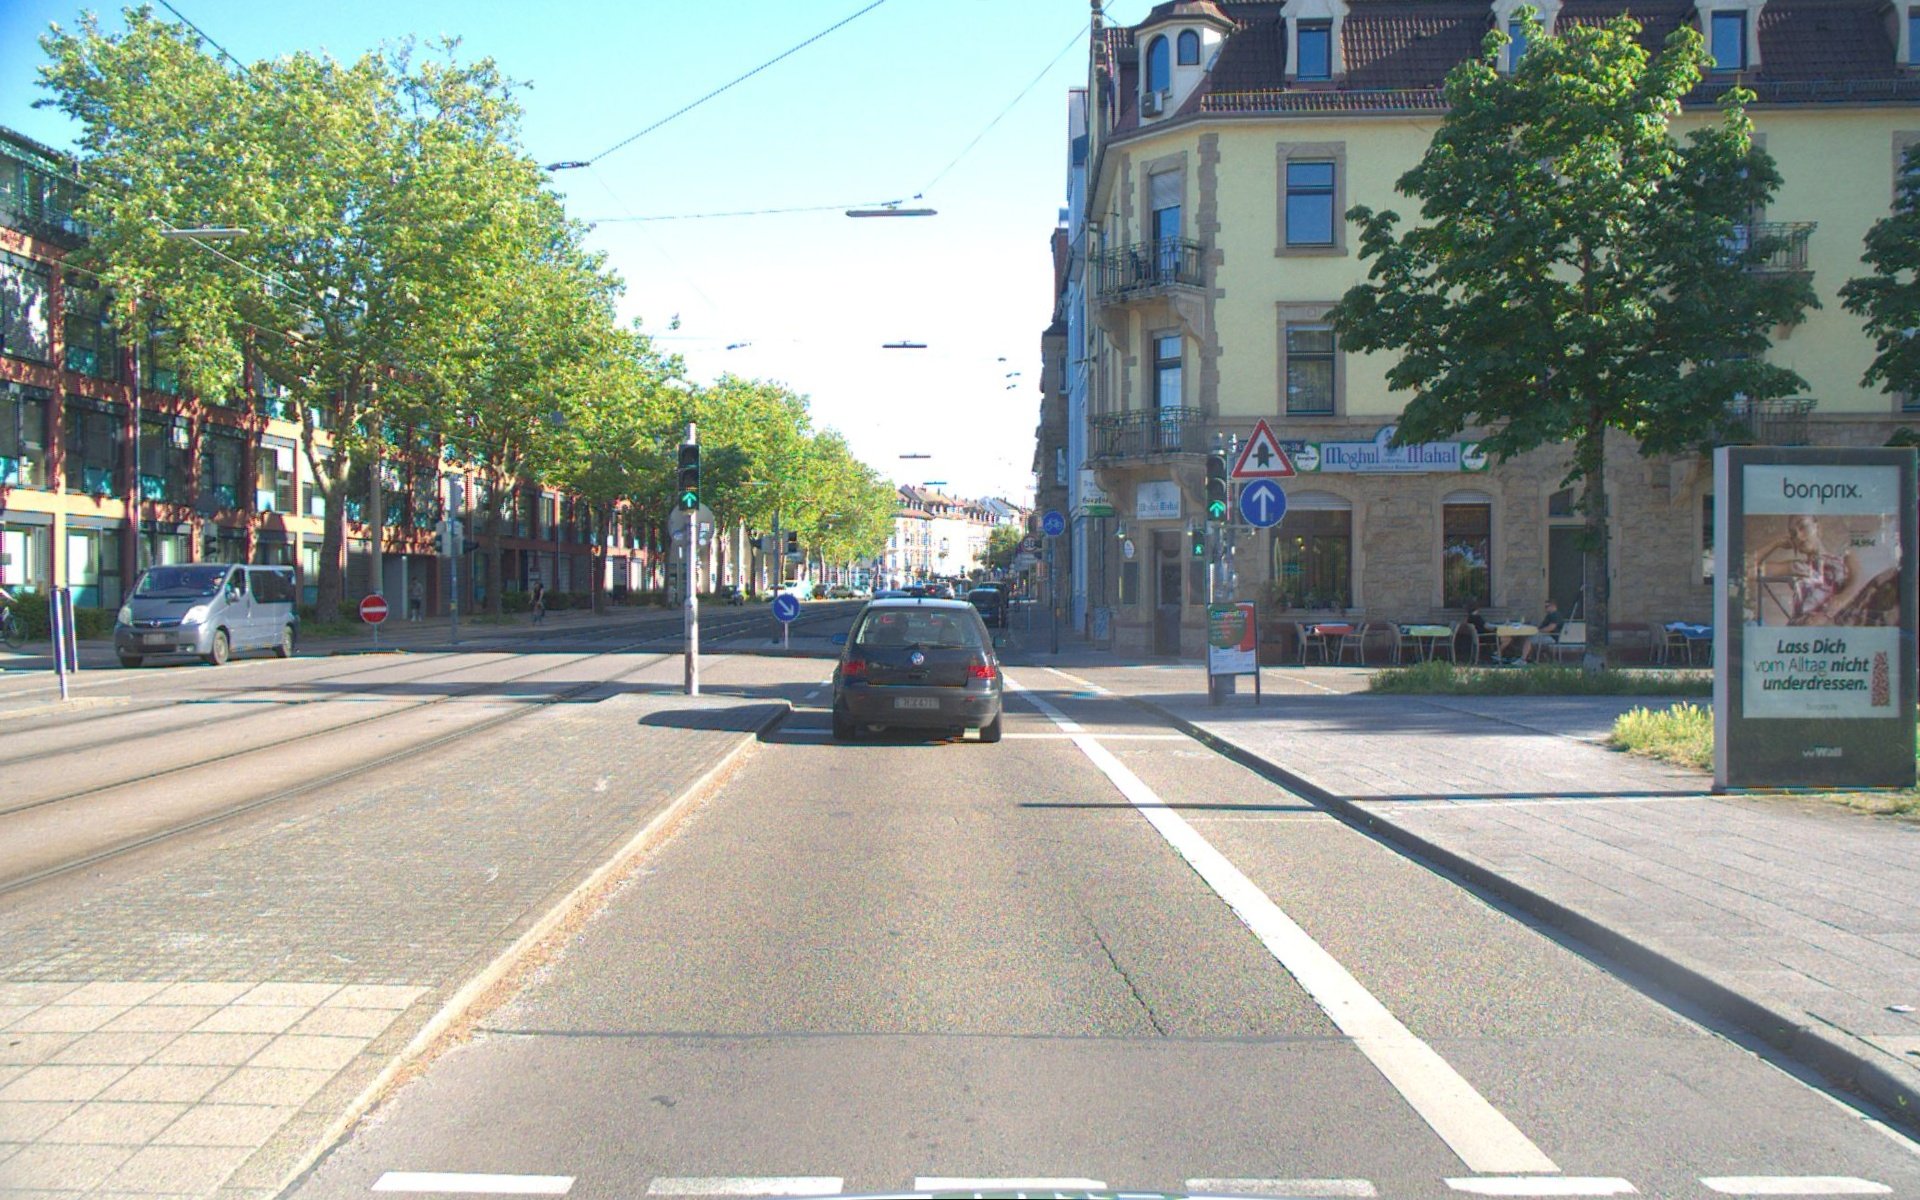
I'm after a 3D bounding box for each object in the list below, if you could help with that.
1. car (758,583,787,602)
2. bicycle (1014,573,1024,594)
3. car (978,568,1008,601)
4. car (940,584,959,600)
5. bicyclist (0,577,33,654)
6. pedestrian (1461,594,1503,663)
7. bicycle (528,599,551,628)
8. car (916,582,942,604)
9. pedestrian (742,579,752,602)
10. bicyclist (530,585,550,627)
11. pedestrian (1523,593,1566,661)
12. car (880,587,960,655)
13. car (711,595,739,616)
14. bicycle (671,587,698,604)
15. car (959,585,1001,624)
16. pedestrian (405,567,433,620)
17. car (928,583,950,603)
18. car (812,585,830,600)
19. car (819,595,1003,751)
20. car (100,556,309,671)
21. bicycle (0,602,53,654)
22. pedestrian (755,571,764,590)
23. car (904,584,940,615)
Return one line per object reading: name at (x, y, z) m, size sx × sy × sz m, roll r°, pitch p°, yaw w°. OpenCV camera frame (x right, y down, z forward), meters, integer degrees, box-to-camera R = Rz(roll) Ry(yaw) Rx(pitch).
car at (-16.524, -0.688, 145.893) m, size 1.970 × 1.600 × 4.694 m, roll 2°, pitch 1°, yaw 0°
bicycle at (3.400, -0.954, 95.808) m, size 0.504 × 1.159 × 2.259 m, roll -2°, pitch 1°, yaw 1°
car at (1.982, -0.920, 98.403) m, size 1.716 × 1.888 × 4.817 m, roll 1°, pitch 1°, yaw 2°
car at (-0.957, -0.735, 151.955) m, size 1.602 × 1.498 × 3.730 m, roll 0°, pitch 1°, yaw 2°
bicyclist at (-21.791, 0.355, 37.729) m, size 0.593 × 1.722 × 0.931 m, roll 2°, pitch 1°, yaw 26°
pedestrian at (10.836, 0.588, 34.357) m, size 0.625 × 1.383 × 0.702 m, roll 2°, pitch 1°, yaw 2°
bicycle at (-16.826, 0.537, 66.247) m, size 0.632 × 1.060 × 1.923 m, roll 2°, pitch 1°, yaw -7°
car at (-2.076, -0.486, 111.890) m, size 1.602 × 1.498 × 3.730 m, roll 0°, pitch 1°, yaw 2°
pedestrian at (-17.980, -0.806, 139.479) m, size 0.771 × 1.902 × 0.669 m, roll 1°, pitch 1°, yaw -13°
bicyclist at (-16.816, 0.227, 66.204) m, size 0.632 × 1.639 × 0.780 m, roll 2°, pitch 1°, yaw -7°
pedestrian at (12.139, 0.555, 34.349) m, size 0.625 × 1.383 × 0.702 m, roll 2°, pitch 1°, yaw 2°
car at (-0.946, 0.481, 40.659) m, size 1.712 × 1.564 × 3.893 m, roll 0°, pitch 1°, yaw 2°
car at (-17.280, 0.421, 121.693) m, size 1.476 × 1.479 × 3.464 m, roll -1°, pitch -1°, yaw 2°
bicycle at (-21.337, -0.356, 128.010) m, size 1.967 × 1.301 × 0.664 m, roll 1°, pitch 1°, yaw 2°
car at (0.841, 0.167, 67.288) m, size 1.621 × 1.508 × 4.001 m, roll 1°, pitch 1°, yaw 1°
pedestrian at (-21.424, -0.249, 65.500) m, size 0.893 × 2.048 × 0.780 m, roll 2°, pitch 1°, yaw -7°
car at (-1.681, -0.567, 131.928) m, size 1.602 × 1.498 × 3.730 m, roll 0°, pitch 0°, yaw 2°
car at (-15.114, -0.839, 180.272) m, size 1.537 × 1.560 × 3.573 m, roll 0°, pitch 0°, yaw 2°
car at (-0.446, 0.680, 17.486) m, size 1.712 × 1.399 × 4.000 m, roll 0°, pitch 1°, yaw 0°
car at (-15.054, 0.189, 33.325) m, size 1.980 × 2.048 × 5.247 m, roll -2°, pitch 2°, yaw -3°
bicycle at (-21.820, 0.640, 37.679) m, size 0.619 × 1.149 × 2.033 m, roll 2°, pitch 1°, yaw 26°
pedestrian at (-20.224, -1.941, 166.902) m, size 0.780 × 1.852 × 0.670 m, roll 2°, pitch 1°, yaw 1°
car at (-1.839, -0.025, 81.225) m, size 1.602 × 1.498 × 3.730 m, roll 0°, pitch 1°, yaw 2°
